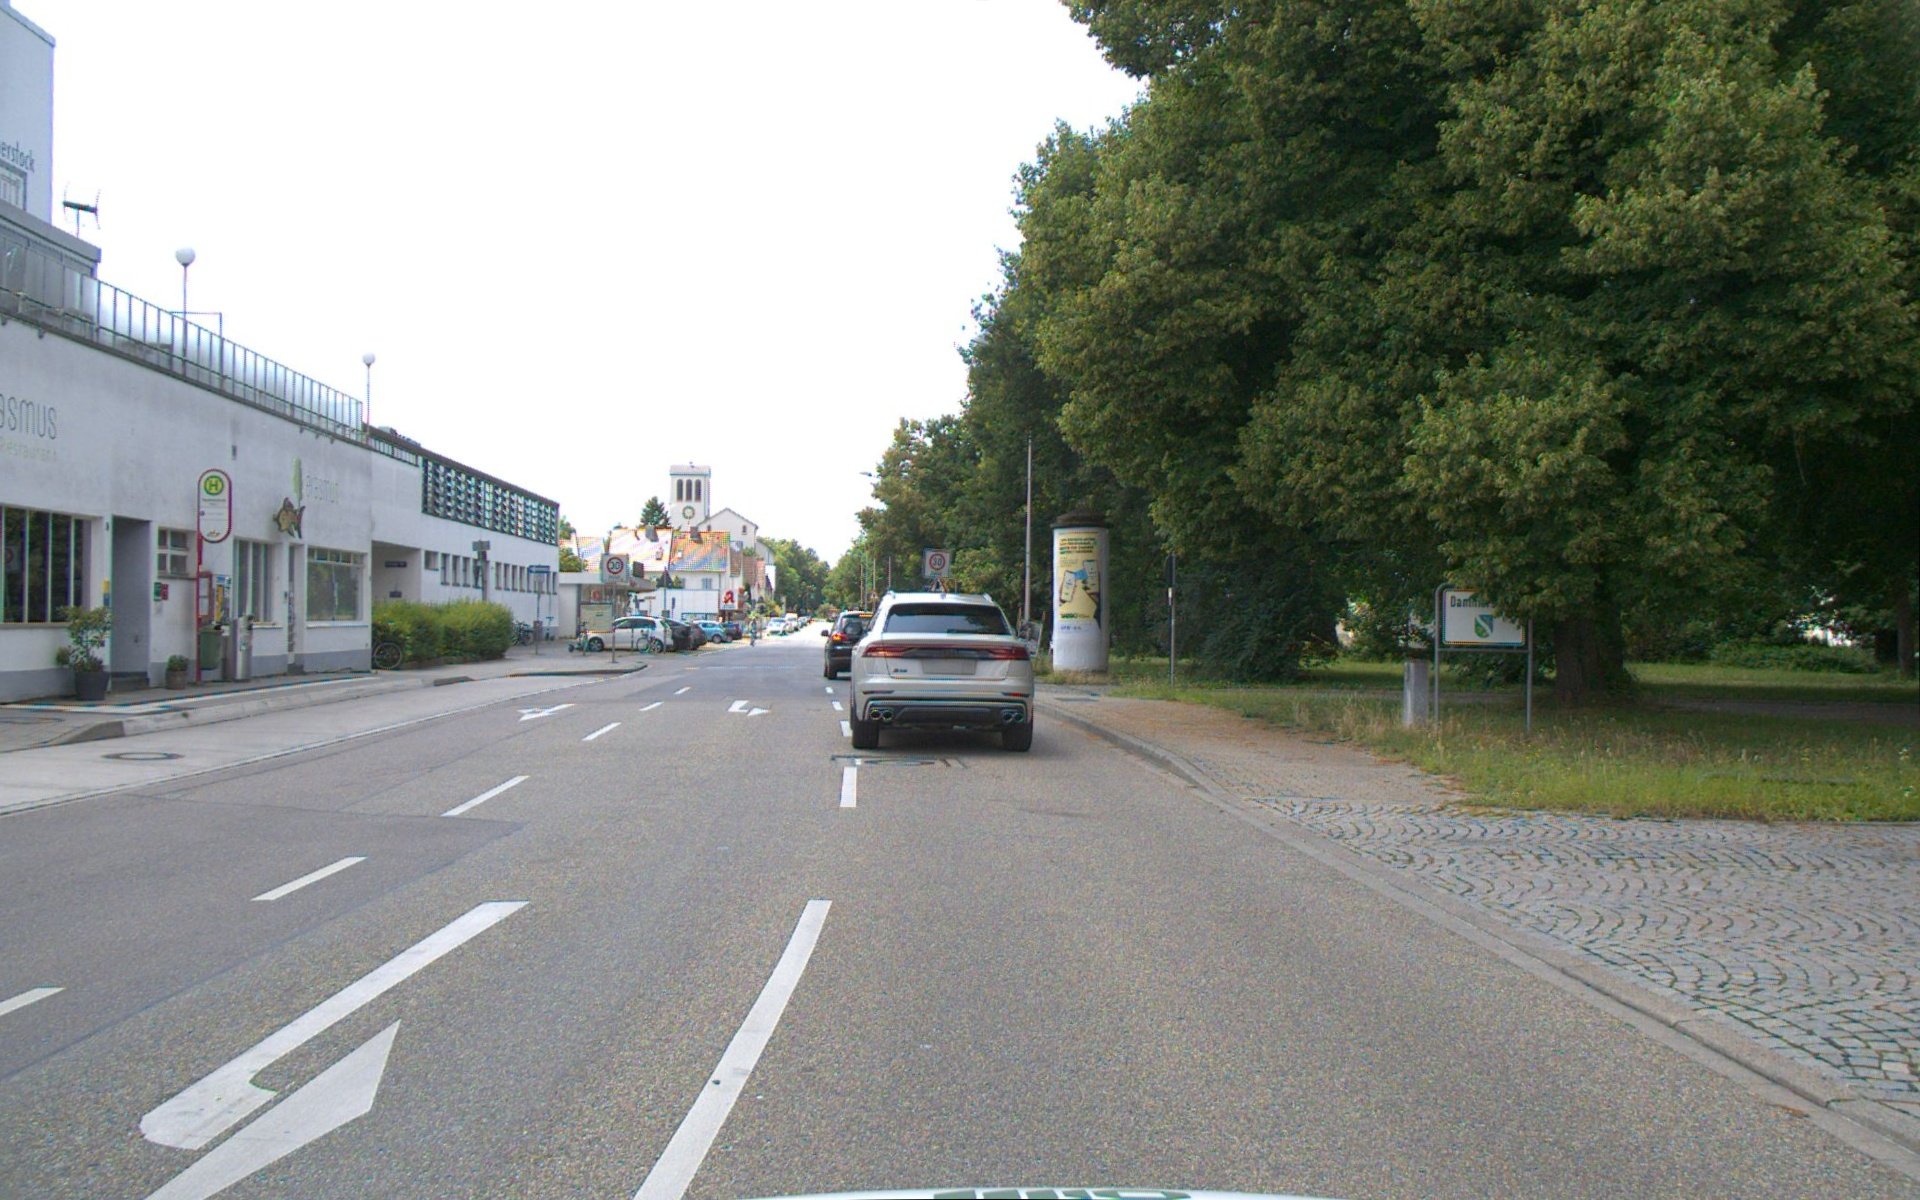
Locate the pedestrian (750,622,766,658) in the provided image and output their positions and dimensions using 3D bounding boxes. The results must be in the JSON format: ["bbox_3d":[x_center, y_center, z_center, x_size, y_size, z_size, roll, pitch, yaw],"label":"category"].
[{"bbox_3d":[-12.162,2.416,99.635,0.891,2.173,1.013,0,-1,-4],"label":"pedestrian"}]

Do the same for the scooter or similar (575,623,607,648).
[{"bbox_3d":[-15.279,1.458,68.425,0.617,1.013,1.971,1,-2,-35],"label":"scooter or similar"}]

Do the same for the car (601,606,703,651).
[{"bbox_3d":[-14.197,1.326,76.410,4.547,2.049,1.995,0,-2,-10],"label":"car"}]

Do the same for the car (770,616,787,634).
[{"bbox_3d":[-19.885,2.741,181.022,1.749,1.887,3.993,0,0,-7],"label":"car"}]

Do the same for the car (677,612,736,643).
[{"bbox_3d":[-17.028,1.807,111.059,3.915,2.049,1.995,0,-1,-11],"label":"car"}]

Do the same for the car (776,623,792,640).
[{"bbox_3d":[-20.448,3.622,191.908,1.749,1.887,3.993,0,0,-7],"label":"car"}]

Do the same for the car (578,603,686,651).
[{"bbox_3d":[-14.271,1.208,72.131,4.547,2.049,1.995,0,-2,-10],"label":"car"}]

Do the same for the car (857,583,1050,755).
[{"bbox_3d":[-0.036,0.716,19.252,1.940,1.713,4.574,1,0,1],"label":"car"}]

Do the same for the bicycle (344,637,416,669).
[{"bbox_3d":[-14.191,1.287,40.499,1.646,0.771,0.408,0,-1,-23],"label":"bicycle"}]

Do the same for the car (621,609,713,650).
[{"bbox_3d":[-14.822,1.509,83.814,4.547,2.049,1.995,0,-2,-10],"label":"car"}]

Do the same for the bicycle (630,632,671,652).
[{"bbox_3d":[-12.765,1.746,68.227,1.639,0.771,0.569,2,-1,-10],"label":"bicycle"}]

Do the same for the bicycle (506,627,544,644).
[{"bbox_3d":[-20.674,1.711,78.673,1.652,0.771,0.564,2,-1,-31],"label":"bicycle"}]

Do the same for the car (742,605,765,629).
[{"bbox_3d":[-18.340,1.522,146.793,1.956,2.049,3.993,0,-1,-7],"label":"car"}]

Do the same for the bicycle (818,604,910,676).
[{"bbox_3d":[-2.451,0.965,41.148,1.956,1.704,4.200,0,-1,-8],"label":"bicycle"}]

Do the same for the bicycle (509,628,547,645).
[{"bbox_3d":[-20.365,1.709,77.966,1.652,0.771,0.564,2,-1,-31],"label":"bicycle"}]

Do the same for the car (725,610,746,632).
[{"bbox_3d":[-21.277,1.937,156.648,1.956,2.049,3.993,0,-1,-7],"label":"car"}]

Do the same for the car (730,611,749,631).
[{"bbox_3d":[-22.687,2.164,170.074,1.956,2.049,3.993,0,-1,-7],"label":"car"}]
